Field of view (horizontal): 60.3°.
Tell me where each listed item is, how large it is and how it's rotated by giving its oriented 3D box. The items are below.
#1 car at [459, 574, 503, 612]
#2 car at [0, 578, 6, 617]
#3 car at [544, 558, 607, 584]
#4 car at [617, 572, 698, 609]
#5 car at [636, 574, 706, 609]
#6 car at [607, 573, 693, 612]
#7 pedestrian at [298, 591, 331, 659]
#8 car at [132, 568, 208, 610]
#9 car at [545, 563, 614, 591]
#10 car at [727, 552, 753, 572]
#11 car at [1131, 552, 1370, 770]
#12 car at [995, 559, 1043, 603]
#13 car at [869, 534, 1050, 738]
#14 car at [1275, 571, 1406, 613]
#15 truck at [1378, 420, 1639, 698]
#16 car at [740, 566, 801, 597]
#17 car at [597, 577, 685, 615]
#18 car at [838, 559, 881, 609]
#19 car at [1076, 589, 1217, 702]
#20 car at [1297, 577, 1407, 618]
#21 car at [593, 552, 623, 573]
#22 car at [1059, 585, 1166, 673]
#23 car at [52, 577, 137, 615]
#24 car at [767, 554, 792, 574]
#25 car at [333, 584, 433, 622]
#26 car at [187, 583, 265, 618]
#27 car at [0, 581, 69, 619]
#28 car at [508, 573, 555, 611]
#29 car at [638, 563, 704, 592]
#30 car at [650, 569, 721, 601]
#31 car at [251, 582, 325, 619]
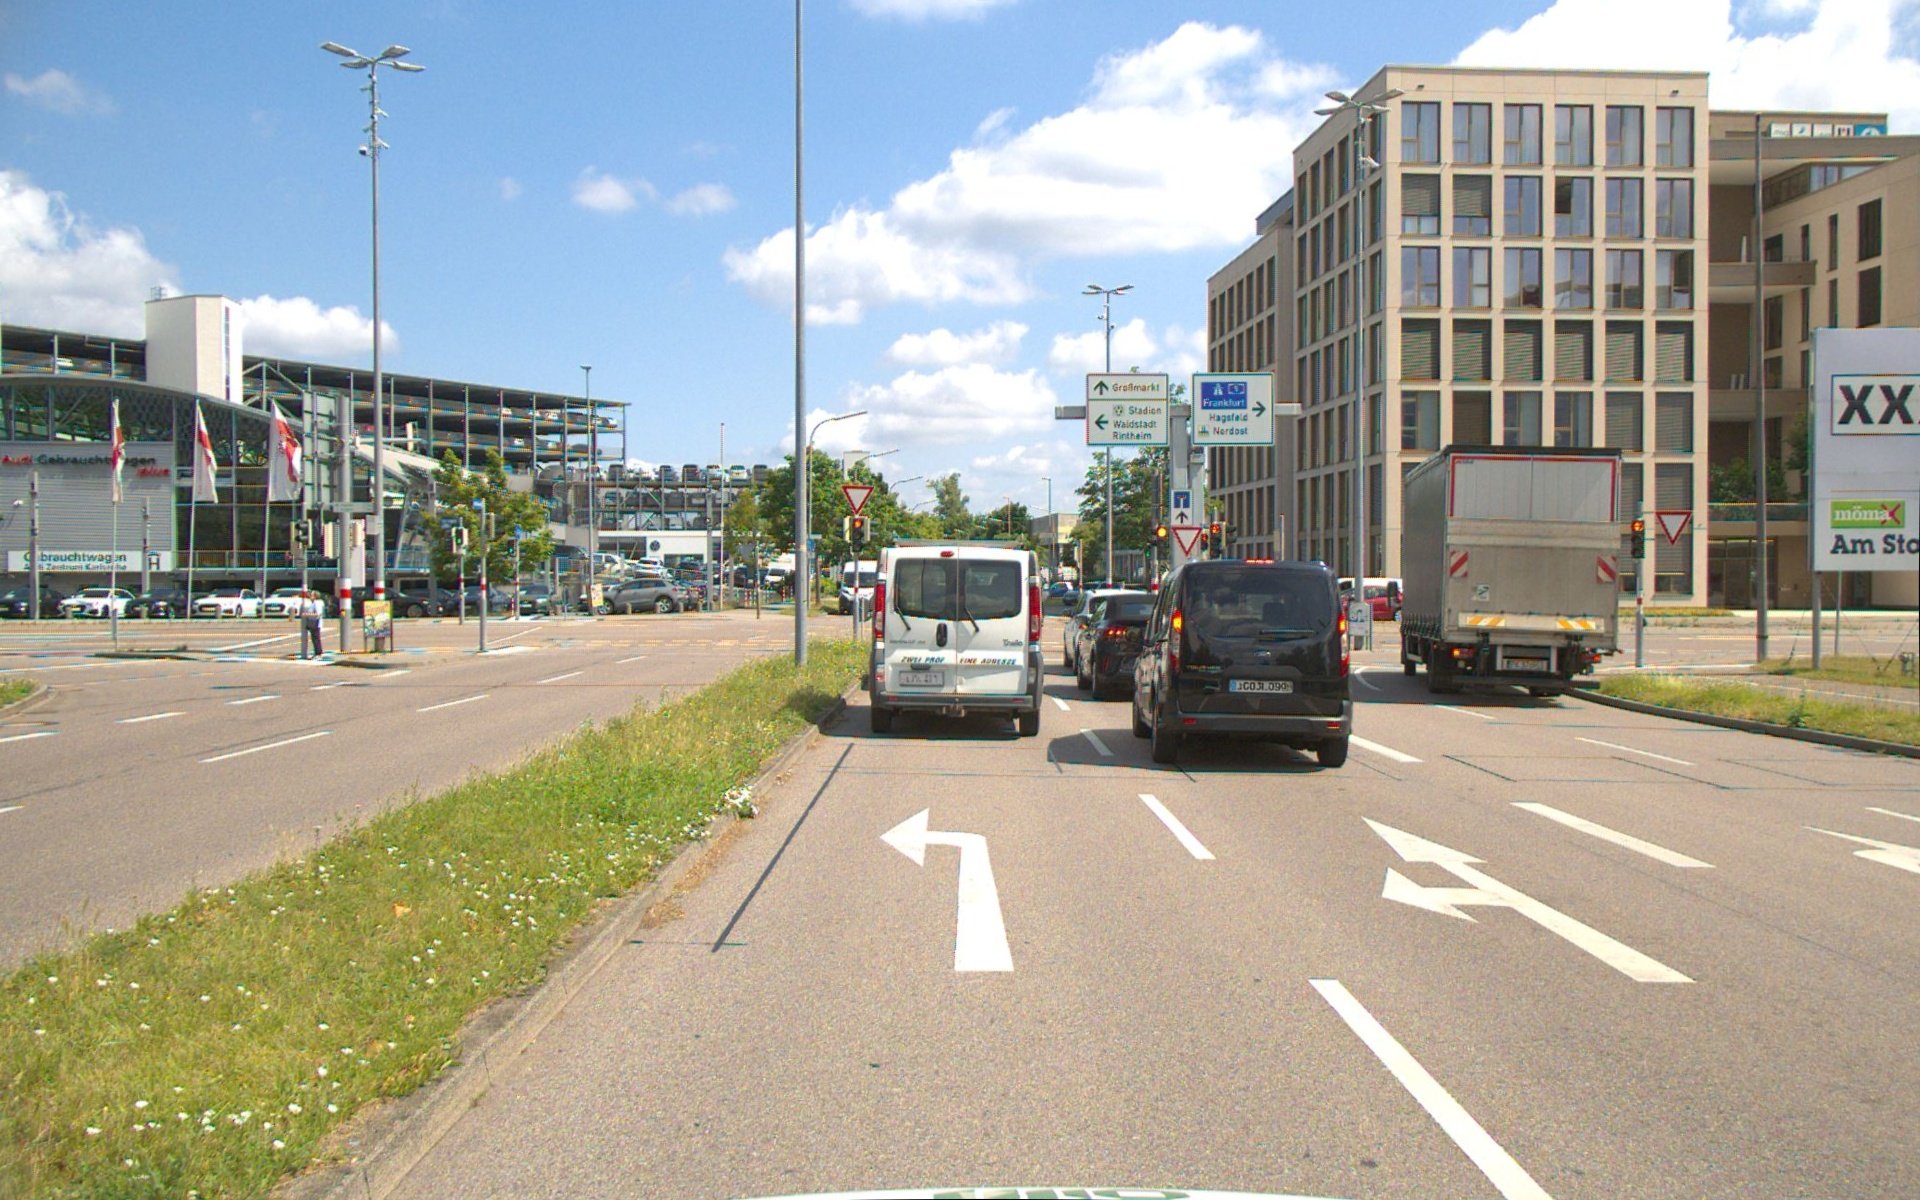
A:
[{"bbox_3d":[-20.683,-0.296,71.338,1.788,1.579,3.981,1,0,-17],"label":"car"},{"bbox_3d":[-43.166,-0.111,71.533,1.779,1.693,3.790,1,0,-4],"label":"car"},{"bbox_3d":[-26.893,-2.007,115.797,4.085,1.743,1.687,1,0,-6],"label":"car"},{"bbox_3d":[-15.347,-0.488,84.006,3.835,1.742,1.688,-1,1,-4],"label":"car"},{"bbox_3d":[-15.212,-0.481,87.232,3.439,1.742,1.602,-1,1,-4],"label":"car"},{"bbox_3d":[-14.877,-0.384,79.570,3.835,1.742,1.688,-1,1,-4],"label":"car"},{"bbox_3d":[-14.649,0.561,37.552,0.460,1.538,0.511,1,0,24],"label":"pedestrian"},{"bbox_3d":[-33.561,-0.482,70.342,1.722,1.689,3.614,0,1,-4],"label":"car"},{"bbox_3d":[-24.376,-1.461,106.022,4.085,1.743,1.687,1,0,-6],"label":"car"},{"bbox_3d":[-17.187,-2.951,129.238,1.810,1.556,3.997,0,1,-5],"label":"car"},{"bbox_3d":[2.714,0.506,16.289,1.782,1.840,4.002,1,1,3],"label":"car"},{"bbox_3d":[3.202,-1.067,90.873,1.955,2.294,5.509,0,1,-6],"label":"car"},{"bbox_3d":[0.053,0.355,18.869,1.817,2.053,4.001,1,0,2],"label":"car"},{"bbox_3d":[15.617,-0.340,68.010,4.883,1.635,1.999,0,1,-3],"label":"car"},{"bbox_3d":[9.095,-0.640,28.538,3.063,4.009,8.866,1,0,11],"label":"truck"},{"bbox_3d":[-12.419,-1.178,108.384,3.911,1.959,1.824,1,0,-7],"label":"car"},{"bbox_3d":[-14.809,-0.203,76.876,3.785,1.668,1.857,-1,1,-4],"label":"car"},{"bbox_3d":[-4.852,-0.786,79.761,1.932,2.295,4.977,-1,1,-4],"label":"car"},{"bbox_3d":[2.768,0.625,25.286,1.704,1.521,4.000,1,1,0],"label":"car"},{"bbox_3d":[15.128,-0.121,63.968,3.815,1.516,1.794,1,1,-2],"label":"car"},{"bbox_3d":[-27.690,-2.941,130.232,1.810,1.556,3.997,0,1,-5],"label":"car"},{"bbox_3d":[2.897,0.523,32.046,1.704,1.570,4.000,1,0,0],"label":"car"},{"bbox_3d":[-36.712,-0.177,70.249,1.842,1.512,3.698,0,1,-4],"label":"car"},{"bbox_3d":[-14.137,-2.806,129.336,1.810,1.556,3.997,0,1,-5],"label":"car"},{"bbox_3d":[-24.661,0.109,70.746,3.718,1.539,1.677,0,1,-6],"label":"car"},{"bbox_3d":[-31.266,0.015,70.547,1.870,1.400,3.749,0,1,-4],"label":"car"},{"bbox_3d":[-39.436,-0.030,69.948,1.693,1.512,3.698,0,1,-4],"label":"car"},{"bbox_3d":[-18.652,-0.371,71.925,1.788,1.579,3.981,1,0,-17],"label":"car"},{"bbox_3d":[-18.787,-1.455,107.674,4.085,1.742,1.687,2,1,-7],"label":"car"},{"bbox_3d":[-15.830,-0.853,95.562,3.835,1.742,1.688,-1,1,-4],"label":"car"},{"bbox_3d":[-28.716,-0.003,70.803,1.741,1.475,4.027,0,1,-4],"label":"car"}]
